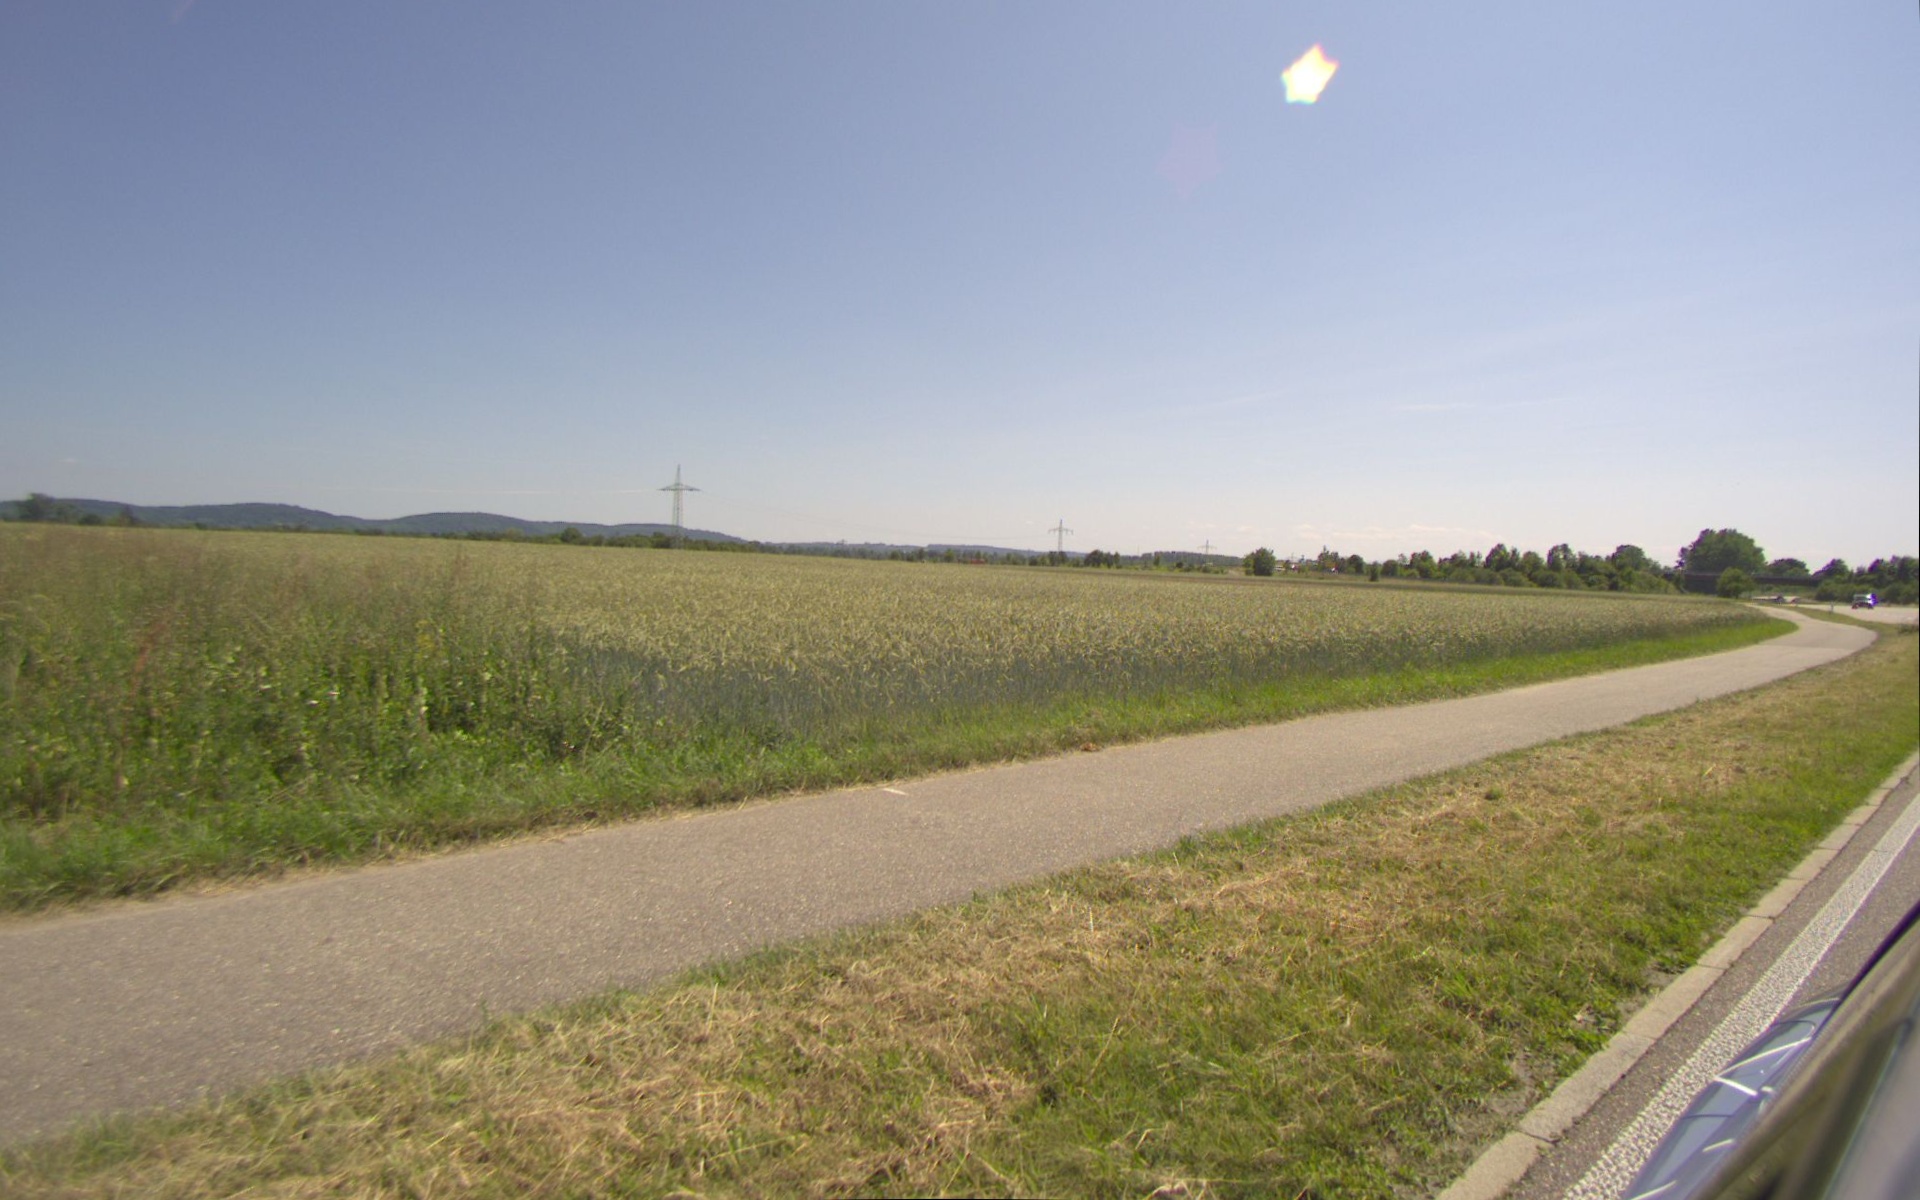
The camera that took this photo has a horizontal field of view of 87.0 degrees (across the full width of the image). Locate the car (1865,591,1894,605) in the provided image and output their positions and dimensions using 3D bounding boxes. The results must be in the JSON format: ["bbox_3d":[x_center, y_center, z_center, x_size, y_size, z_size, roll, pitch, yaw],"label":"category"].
[{"bbox_3d":[113.543,-0.262,125.008,1.973,1.616,5.332,2,1,36],"label":"car"}]
